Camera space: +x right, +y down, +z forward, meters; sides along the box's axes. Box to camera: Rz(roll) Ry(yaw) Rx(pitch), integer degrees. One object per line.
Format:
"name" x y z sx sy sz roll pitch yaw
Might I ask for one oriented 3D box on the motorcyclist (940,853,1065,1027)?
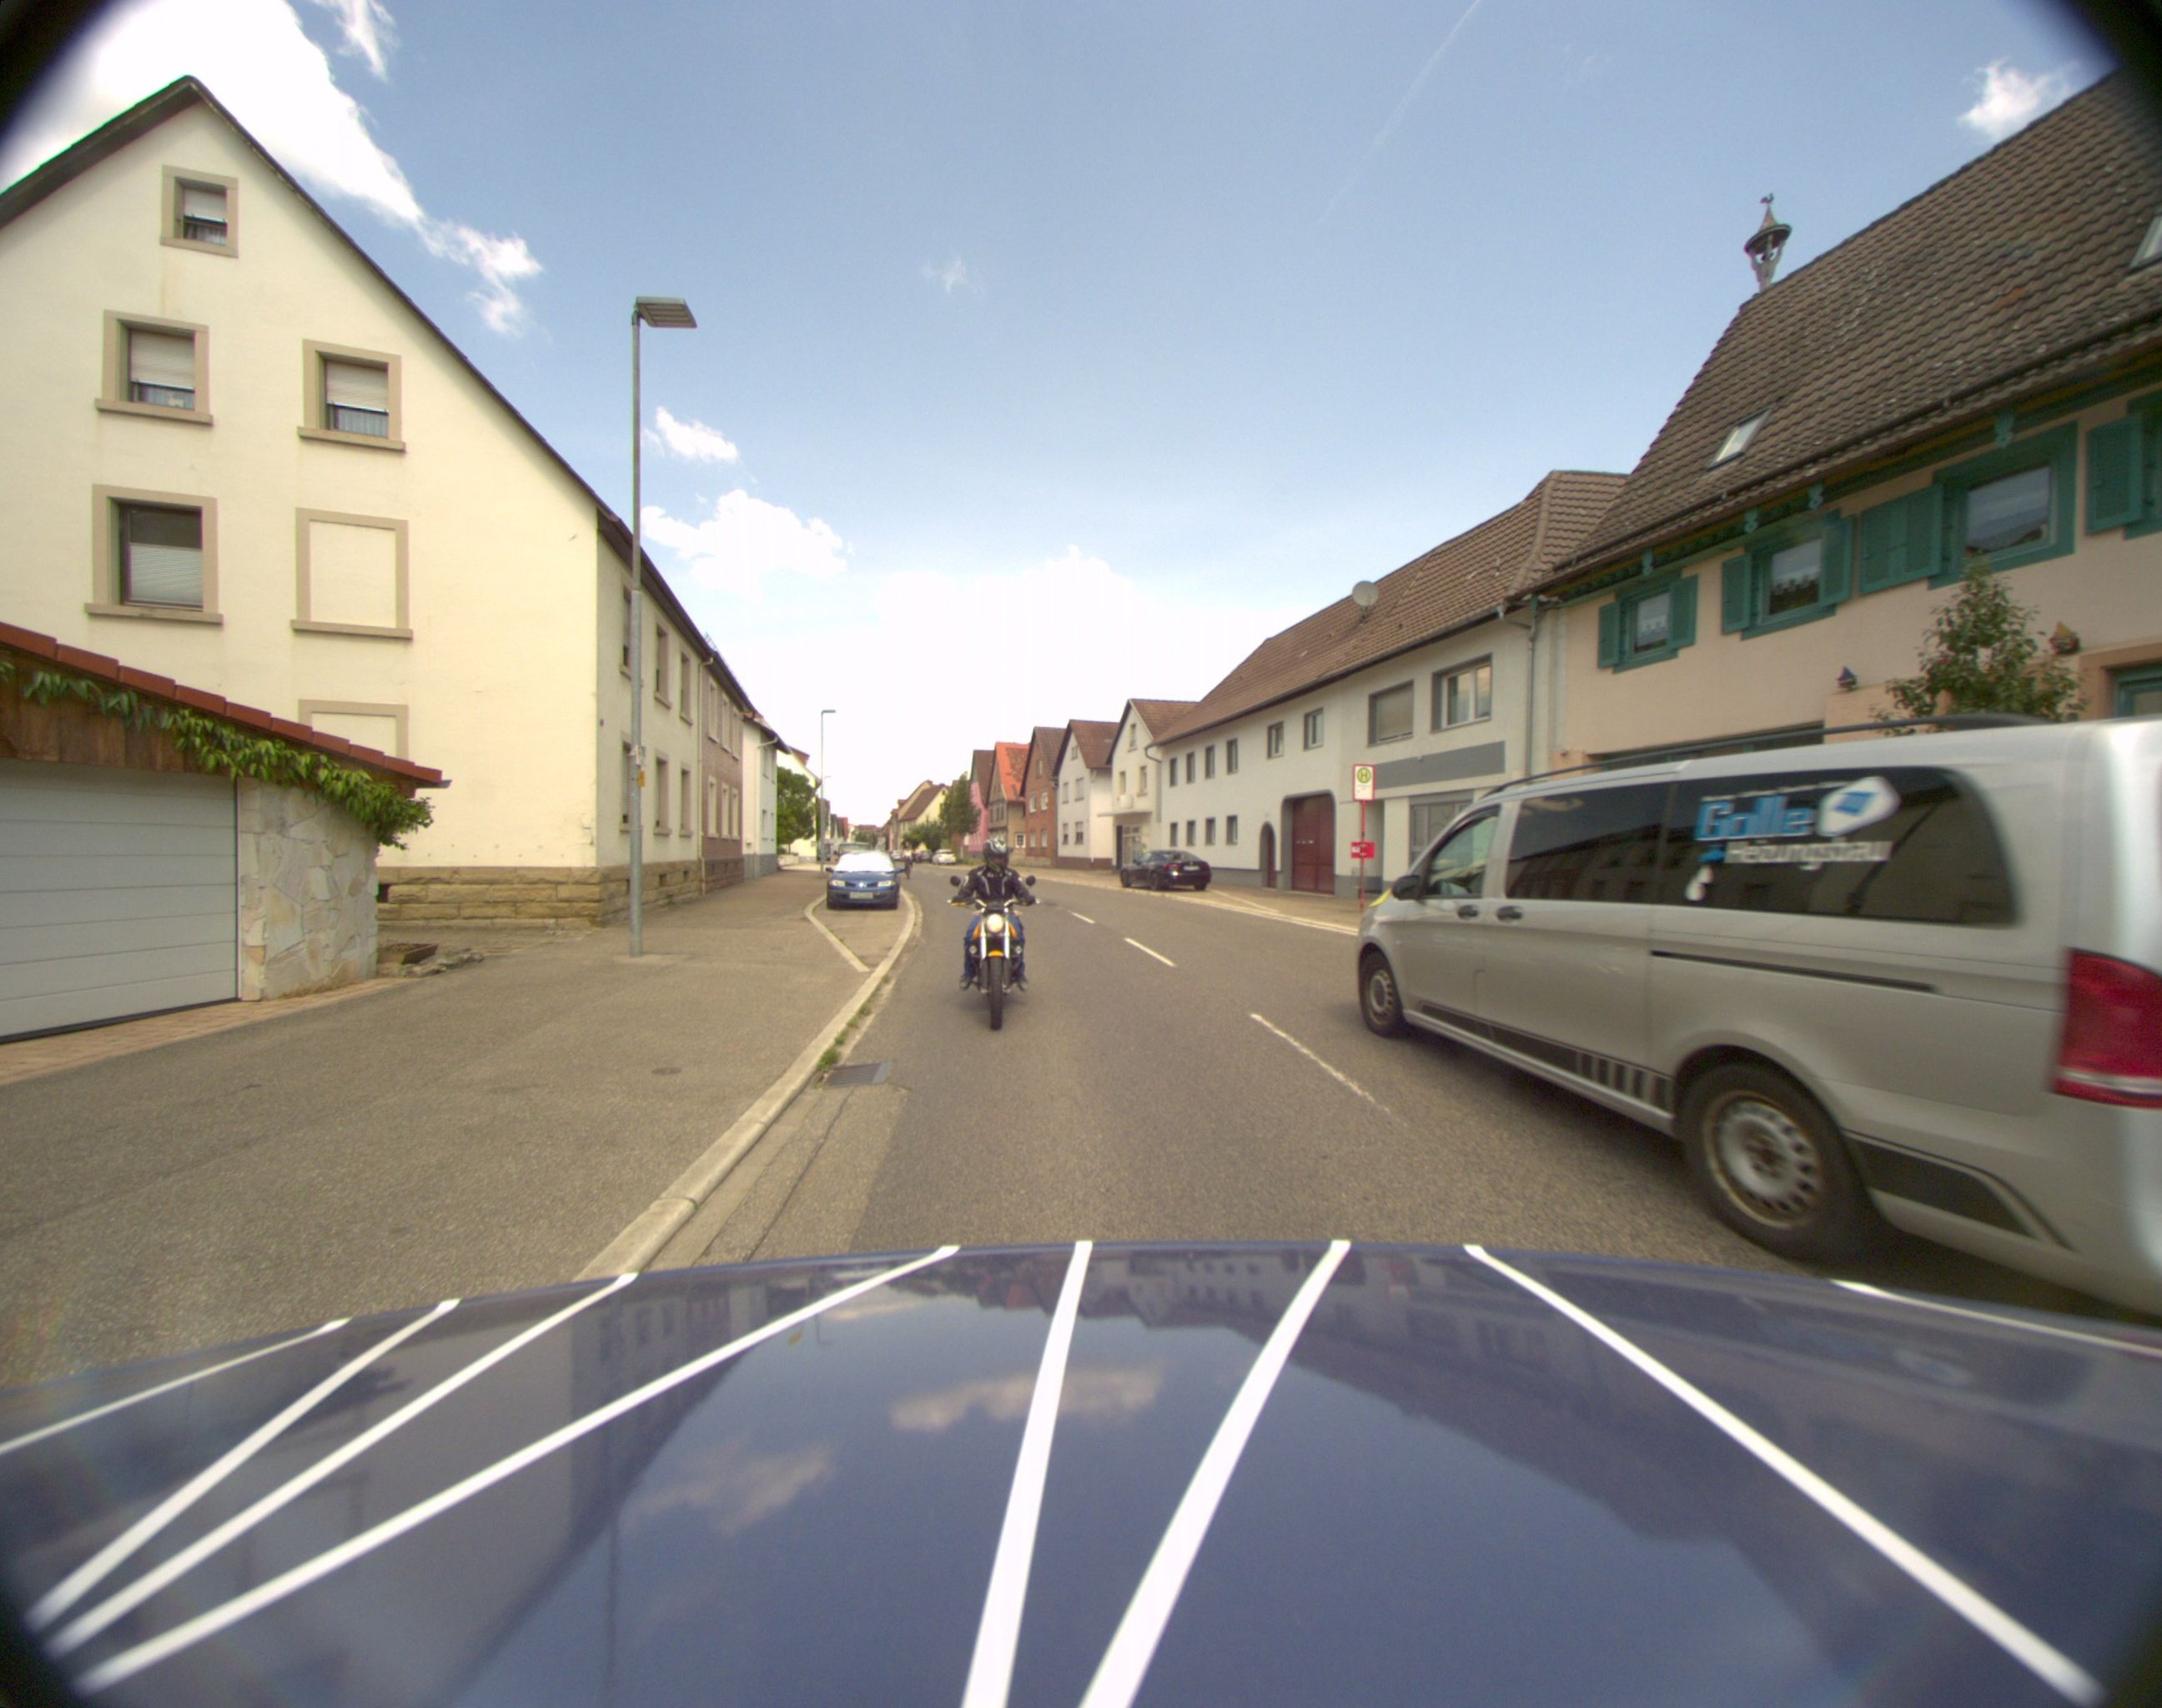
"motorcyclist" -0.744 0.799 7.484 0.999 1.591 0.800 0 3 12

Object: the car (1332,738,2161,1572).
"car" 3.222 0.548 4.051 1.999 1.790 4.933 -1 2 -2

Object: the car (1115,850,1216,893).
"car" 2.849 0.560 26.716 1.772 1.341 4.749 -1 0 -17

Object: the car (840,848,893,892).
"car" -8.007 0.613 28.583 1.775 1.520 3.996 0 -1 -14

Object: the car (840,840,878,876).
"car" -13.004 0.167 44.372 1.933 1.905 5.236 -2 2 -17

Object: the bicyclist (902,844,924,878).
"bicyclist" -8.693 0.364 39.234 0.909 1.679 0.761 -1 3 1

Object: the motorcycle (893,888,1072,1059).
"motorcycle" -0.813 1.004 7.108 0.984 1.234 2.105 -2 0 12

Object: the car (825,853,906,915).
"car" -5.681 0.718 20.417 1.729 1.378 3.995 0 2 -11

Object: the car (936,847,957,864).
"car" -12.999 0.143 73.375 1.685 1.521 3.493 -2 2 -15

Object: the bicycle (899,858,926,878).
"bicycle" -8.675 0.725 39.263 0.934 1.005 1.924 -1 0 0

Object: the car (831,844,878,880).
"car" -11.386 0.366 38.068 1.668 1.638 3.991 -2 1 -24
